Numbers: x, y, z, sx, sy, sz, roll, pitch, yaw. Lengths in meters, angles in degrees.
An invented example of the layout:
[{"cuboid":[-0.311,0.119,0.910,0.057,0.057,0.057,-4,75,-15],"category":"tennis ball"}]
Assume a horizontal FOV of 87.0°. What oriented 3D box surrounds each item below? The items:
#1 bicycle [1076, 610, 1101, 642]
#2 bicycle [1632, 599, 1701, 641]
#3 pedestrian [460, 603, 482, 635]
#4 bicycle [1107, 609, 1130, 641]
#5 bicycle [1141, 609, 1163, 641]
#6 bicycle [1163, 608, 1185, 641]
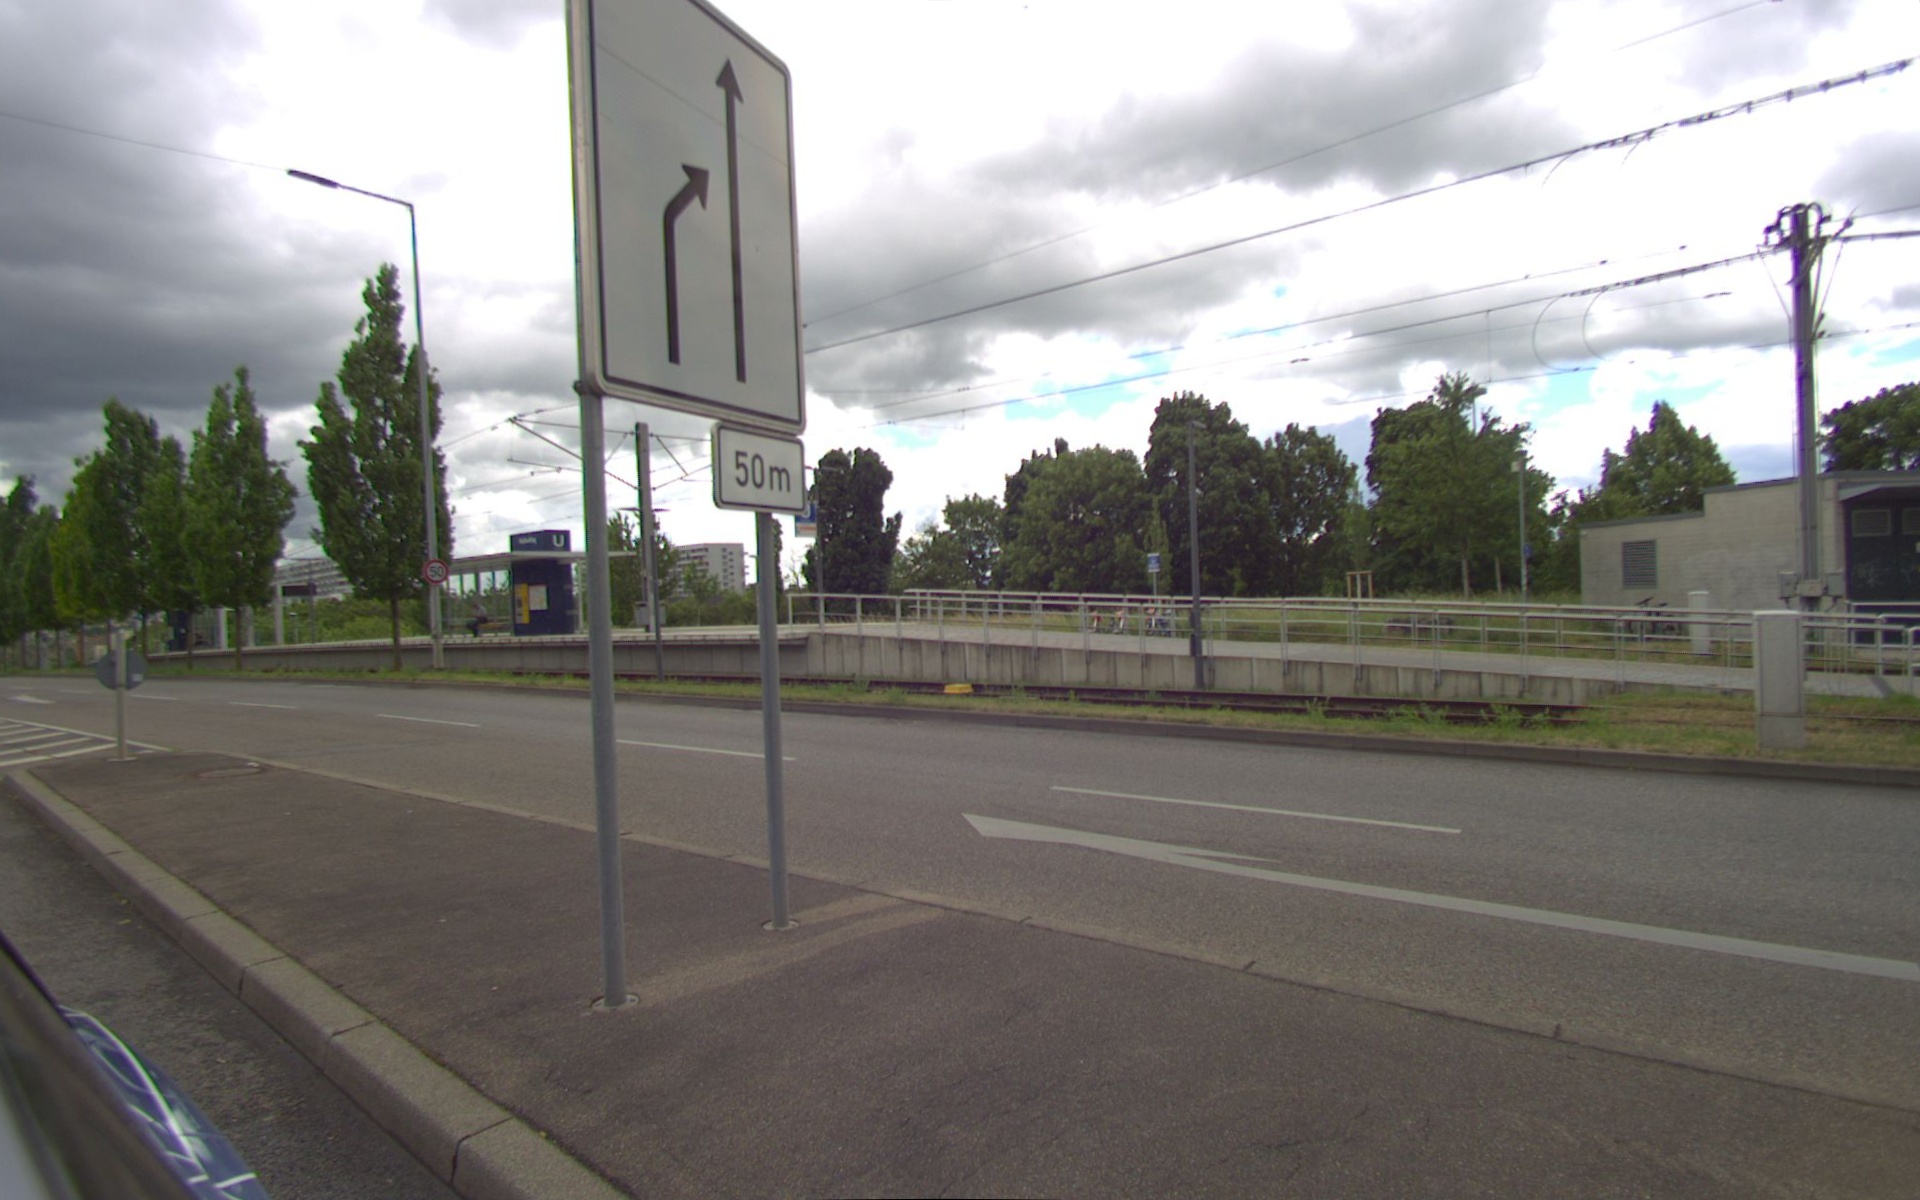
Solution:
[{"cuboid":[4.442,0.887,34.916,0.531,1.039,1.804,-1,0,16],"category":"bicycle"},{"cuboid":[18.201,0.504,26.109,0.529,1.039,1.813,-1,0,1],"category":"bicycle"},{"cuboid":[-18.290,0.710,37.851,0.447,1.163,0.593,-1,0,41],"category":"pedestrian"},{"cuboid":[5.396,0.849,34.451,0.531,1.039,1.804,-1,0,16],"category":"bicycle"},{"cuboid":[6.452,0.822,33.998,0.531,1.039,1.804,-1,0,16],"category":"bicycle"},{"cuboid":[7.123,0.803,33.662,0.531,1.039,1.804,-1,0,16],"category":"bicycle"}]
